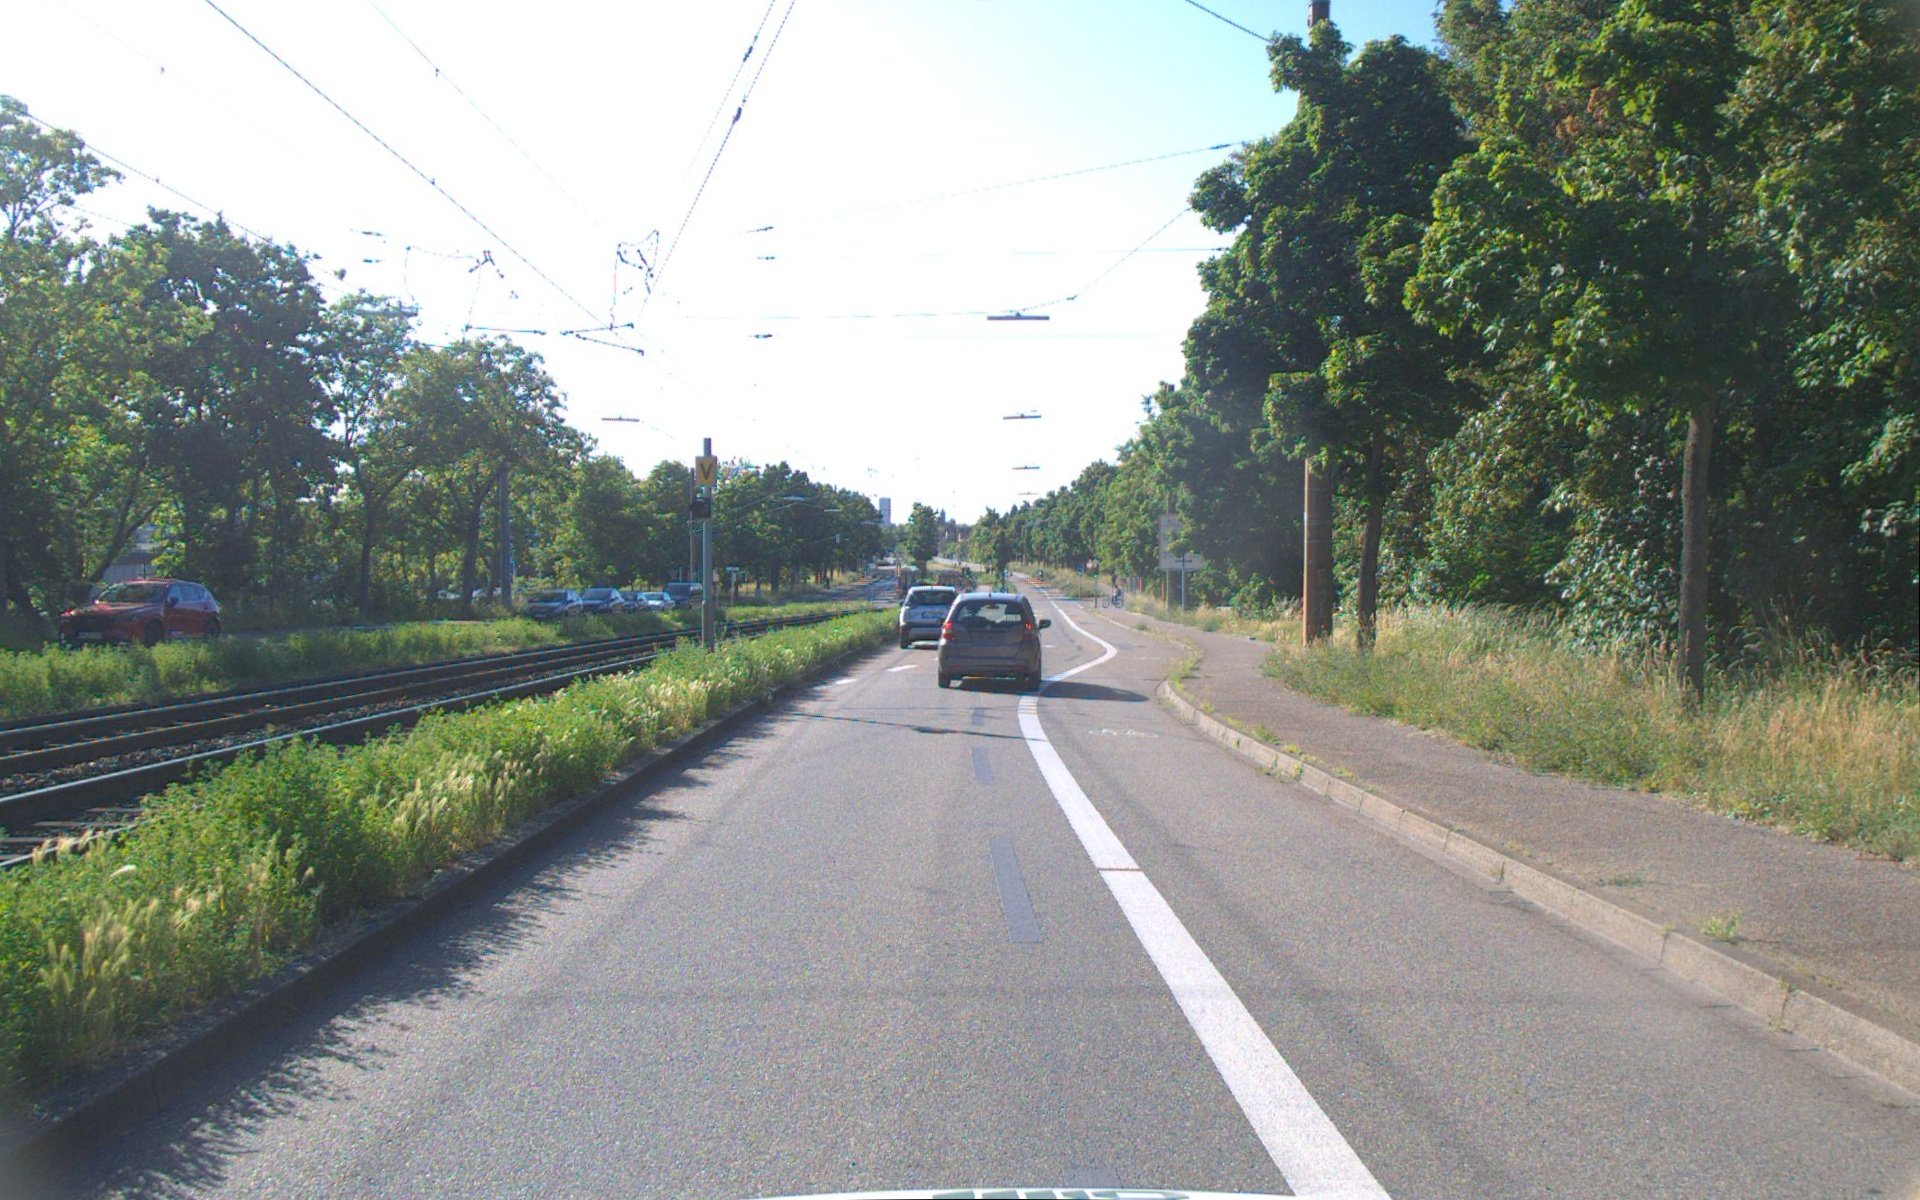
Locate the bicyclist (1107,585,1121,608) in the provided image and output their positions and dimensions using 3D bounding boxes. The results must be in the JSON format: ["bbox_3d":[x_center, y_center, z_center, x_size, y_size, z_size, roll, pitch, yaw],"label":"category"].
[{"bbox_3d":[12.000,-0.283,128.975,0.890,1.775,0.765,-1,0,14],"label":"bicyclist"}]

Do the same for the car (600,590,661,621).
[{"bbox_3d":[-16.605,0.259,83.560,1.952,1.462,4.416,0,1,3],"label":"car"}]

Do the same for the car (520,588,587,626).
[{"bbox_3d":[-17.361,0.298,70.859,1.699,1.520,4.328,1,0,1],"label":"car"}]

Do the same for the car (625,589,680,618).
[{"bbox_3d":[-16.636,0.169,89.574,1.888,1.462,4.697,0,1,3],"label":"car"}]

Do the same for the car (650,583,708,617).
[{"bbox_3d":[-16.254,-0.024,95.936,2.150,1.924,4.794,0,1,5],"label":"car"}]

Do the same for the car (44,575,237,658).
[{"bbox_3d":[-18.016,0.326,36.624,1.963,1.732,4.467,0,0,1],"label":"car"}]

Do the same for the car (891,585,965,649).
[{"bbox_3d":[-0.805,0.423,44.429,1.812,1.634,4.255,0,0,1],"label":"car"}]

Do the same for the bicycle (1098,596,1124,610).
[{"bbox_3d":[11.812,0.203,129.024,1.879,1.015,0.765,-2,0,14],"label":"bicycle"}]

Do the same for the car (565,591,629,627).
[{"bbox_3d":[-16.991,0.414,77.623,1.952,1.602,4.436,0,1,1],"label":"car"}]

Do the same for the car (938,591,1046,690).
[{"bbox_3d":[0.538,0.623,27.983,1.671,1.535,4.001,1,0,1],"label":"car"}]
